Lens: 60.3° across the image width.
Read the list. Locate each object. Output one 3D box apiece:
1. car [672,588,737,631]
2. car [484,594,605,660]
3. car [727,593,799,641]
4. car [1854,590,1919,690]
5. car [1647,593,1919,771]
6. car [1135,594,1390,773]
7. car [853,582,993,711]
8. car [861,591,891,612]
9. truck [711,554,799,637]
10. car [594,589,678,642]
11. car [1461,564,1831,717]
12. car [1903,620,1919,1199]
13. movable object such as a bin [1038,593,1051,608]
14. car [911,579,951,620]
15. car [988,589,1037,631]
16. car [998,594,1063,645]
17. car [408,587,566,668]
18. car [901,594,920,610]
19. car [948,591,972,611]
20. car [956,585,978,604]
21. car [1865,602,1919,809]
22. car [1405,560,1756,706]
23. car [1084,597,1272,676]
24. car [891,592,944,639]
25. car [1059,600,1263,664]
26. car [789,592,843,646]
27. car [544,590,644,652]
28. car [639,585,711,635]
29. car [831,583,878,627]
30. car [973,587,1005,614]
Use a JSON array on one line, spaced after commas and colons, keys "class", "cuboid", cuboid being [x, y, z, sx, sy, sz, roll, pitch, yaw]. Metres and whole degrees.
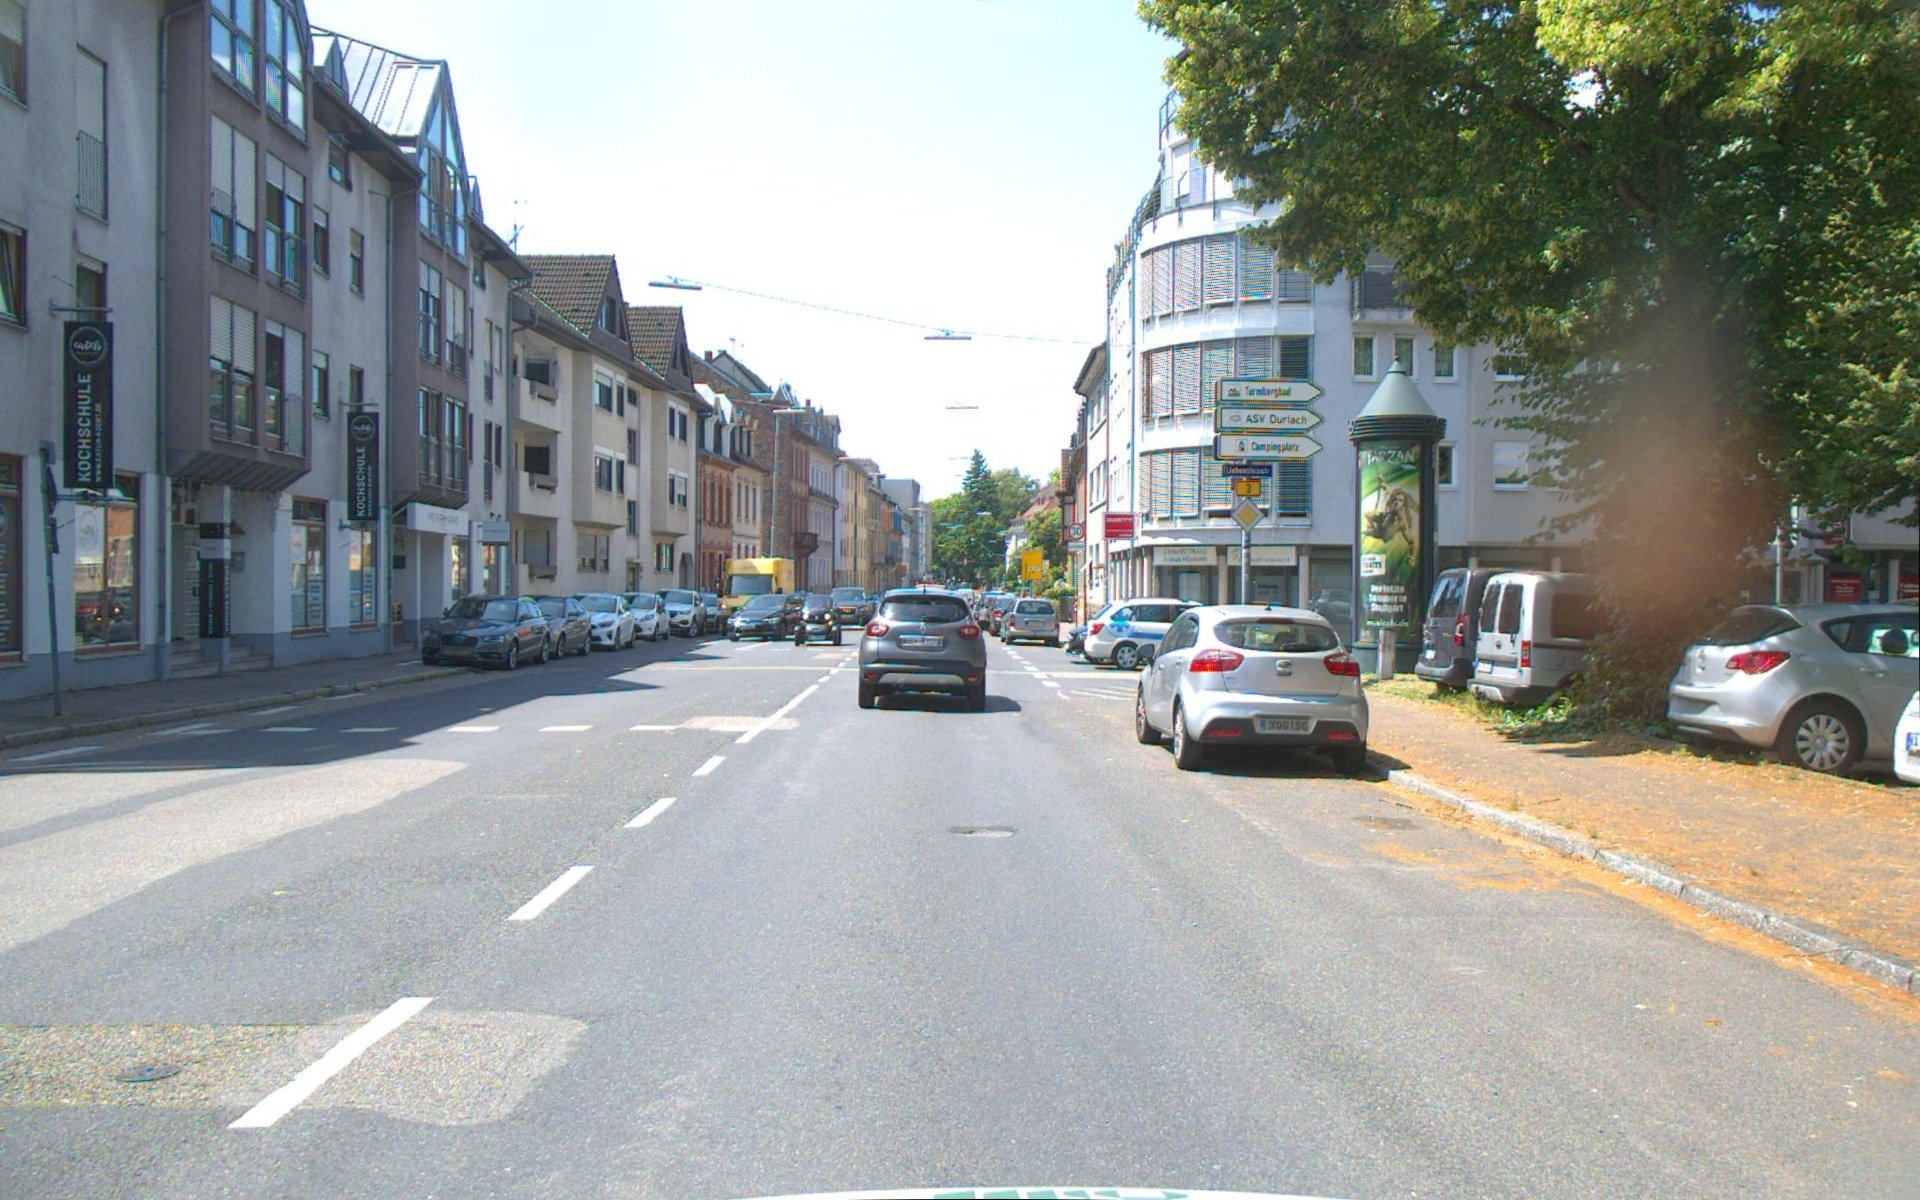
[{"class": "car", "cuboid": [-9.858, 0.373, 64.113, 1.802, 1.514, 4.386, 3, 0, 0]}, {"class": "car", "cuboid": [-9.883, 0.613, 39.666, 1.802, 1.408, 4.326, 3, 0, -1]}, {"class": "car", "cuboid": [-6.200, 0.521, 52.548, 1.706, 1.444, 4.223, 0, 0, 1]}, {"class": "car", "cuboid": [17.085, 0.626, 27.184, 3.908, 1.581, 1.680, 0, 0, -4]}, {"class": "car", "cuboid": [8.330, 0.696, 14.446, 3.907, 1.422, 1.807, 1, 0, -3]}, {"class": "car", "cuboid": [2.825, 0.723, 16.243, 1.731, 1.511, 3.890, 1, 0, -1]}, {"class": "car", "cuboid": [-0.599, 0.599, 23.426, 1.710, 1.644, 3.996, 1, 0, -5]}, {"class": "car", "cuboid": [-6.472, 0.122, 127.767, 1.801, 1.447, 4.559, -3, 0, 3]}, {"class": "truck", "cuboid": [-7.460, -0.175, 61.041, 2.180, 2.819, 7.564, -1, 0, 0]}, {"class": "car", "cuboid": [-10.226, 0.469, 52.503, 1.802, 1.515, 4.385, 3, 0, -1]}, {"class": "car", "cuboid": [7.979, 0.455, 19.408, 3.690, 1.696, 1.662, 0, 0, -6]}, {"class": "car", "cuboid": [2.966, 0.793, 1.738, 1.629, 1.453, 3.999, 1, 0, -1]}, {"class": "movable object such as a bin", "cuboid": [5.431, 0.045, 106.114, 0.772, 0.923, 0.539, 0, 0, -1]}, {"class": "car", "cuboid": [-1.512, -0.036, 86.675, 1.952, 2.049, 4.466, 0, 0, 1]}, {"class": "car", "cuboid": [1.929, 0.363, 61.422, 1.676, 1.499, 4.438, 0, 0, 0]}, {"class": "car", "cuboid": [2.199, 0.584, 52.253, 1.644, 1.480, 4.141, 2, 0, -3]}, {"class": "car", "cuboid": [-9.763, 0.532, 34.533, 1.802, 1.473, 4.968, 3, 0, 0]}, {"class": "car", "cuboid": [-5.169, 0.224, 172.721, 1.866, 1.648, 4.301, -2, 0, -2]}, {"class": "car", "cuboid": [-0.003, 0.063, 134.335, 1.726, 1.587, 3.944, 0, 0, 3]}, {"class": "car", "cuboid": [0.652, -0.468, 145.173, 1.726, 1.587, 3.944, 0, 0, 3]}, {"class": "car", "cuboid": [8.726, 0.752, 11.563, 3.906, 1.453, 1.668, 0, 0, -1]}, {"class": "car", "cuboid": [8.202, 0.428, 22.114, 3.907, 1.781, 2.016, 1, 0, -2]}, {"class": "car", "cuboid": [4.673, 0.762, 35.667, 3.902, 1.582, 1.571, 1, 0, 6]}, {"class": "car", "cuboid": [-1.529, 0.555, 60.872, 1.775, 1.649, 4.441, -1, 0, 0]}, {"class": "car", "cuboid": [4.694, 0.742, 39.101, 4.490, 1.389, 1.999, 1, 0, -3]}, {"class": "car", "cuboid": [-4.133, 0.522, 47.307, 1.468, 1.484, 2.719, 0, 0, -6]}, {"class": "car", "cuboid": [-9.882, 0.532, 44.959, 1.803, 1.515, 4.385, 3, 0, -2]}, {"class": "car", "cuboid": [-9.969, 0.345, 58.153, 1.802, 1.623, 4.385, 3, 0, -1]}, {"class": "car", "cuboid": [-4.174, 0.186, 65.395, 1.776, 1.649, 4.437, -1, 0, -4]}, {"class": "car", "cuboid": [1.892, 0.057, 106.108, 1.952, 1.691, 4.626, 0, 0, 2]}]
